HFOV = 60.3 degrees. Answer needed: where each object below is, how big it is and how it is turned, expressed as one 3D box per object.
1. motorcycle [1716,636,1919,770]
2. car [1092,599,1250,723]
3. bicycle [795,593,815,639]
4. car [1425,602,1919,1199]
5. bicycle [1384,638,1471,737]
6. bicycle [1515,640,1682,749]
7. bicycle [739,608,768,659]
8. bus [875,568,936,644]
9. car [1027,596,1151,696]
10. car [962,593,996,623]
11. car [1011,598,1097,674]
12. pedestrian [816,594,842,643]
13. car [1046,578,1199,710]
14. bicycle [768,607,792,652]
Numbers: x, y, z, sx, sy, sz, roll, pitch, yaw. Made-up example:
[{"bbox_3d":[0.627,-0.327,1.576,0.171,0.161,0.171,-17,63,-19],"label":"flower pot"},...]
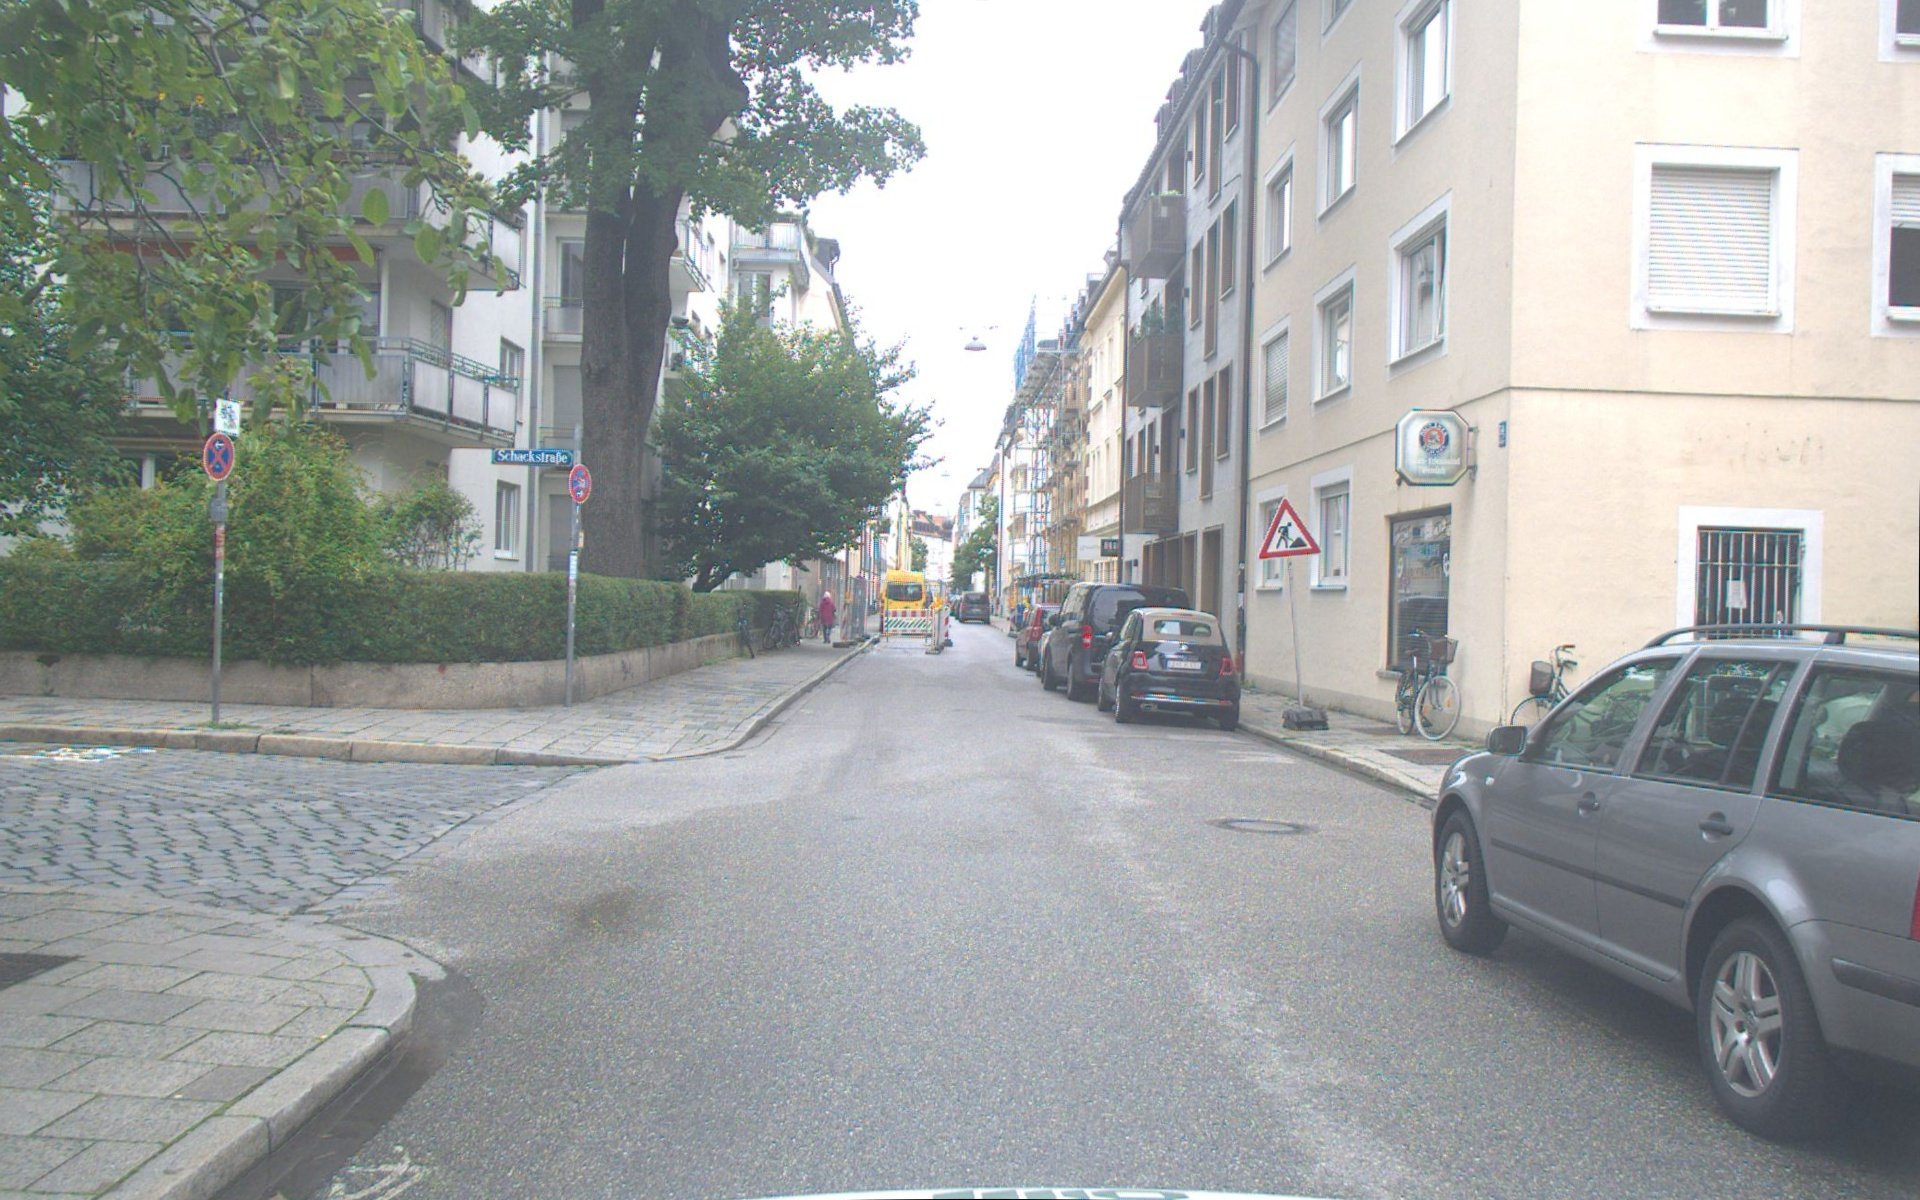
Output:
[{"bbox_3d":[8.273,0.946,15.686,0.617,1.127,1.897,2,0,-43],"label":"motorcycle"},{"bbox_3d":[2.819,0.767,22.767,1.592,1.513,3.807,2,0,-1],"label":"car"},{"bbox_3d":[-5.021,0.522,53.523,0.504,1.442,1.933,1,-1,-1],"label":"bicycle"},{"bbox_3d":[3.171,0.780,5.943,1.709,1.470,3.998,2,0,-2],"label":"car"},{"bbox_3d":[5.297,0.970,18.812,0.464,1.044,1.705,-1,0,-1],"label":"bicycle"},{"bbox_3d":[6.441,0.945,16.704,1.505,1.044,0.475,-1,0,-4],"label":"bicycle"},{"bbox_3d":[-4.388,0.702,35.195,0.406,1.038,1.853,1,0,-1],"label":"bicycle"},{"bbox_3d":[-2.341,0.258,72.500,2.540,3.156,6.304,1,0,-1],"label":"bus"},{"bbox_3d":[2.369,0.809,31.213,1.765,1.595,3.998,5,0,-2],"label":"car"},{"bbox_3d":[1.200,0.476,104.839,1.766,1.741,3.824,5,0,-3],"label":"car"},{"bbox_3d":[2.176,0.806,38.996,1.603,1.541,3.828,5,0,-2],"label":"car"},{"bbox_3d":[-4.092,0.568,51.659,0.740,1.517,0.831,1,-1,-1],"label":"pedestrian"},{"bbox_3d":[2.572,0.663,27.123,1.766,1.851,3.997,5,0,-3],"label":"car"},{"bbox_3d":[-4.421,0.714,40.731,0.437,1.092,2.466,1,0,-3],"label":"bicycle"}]
